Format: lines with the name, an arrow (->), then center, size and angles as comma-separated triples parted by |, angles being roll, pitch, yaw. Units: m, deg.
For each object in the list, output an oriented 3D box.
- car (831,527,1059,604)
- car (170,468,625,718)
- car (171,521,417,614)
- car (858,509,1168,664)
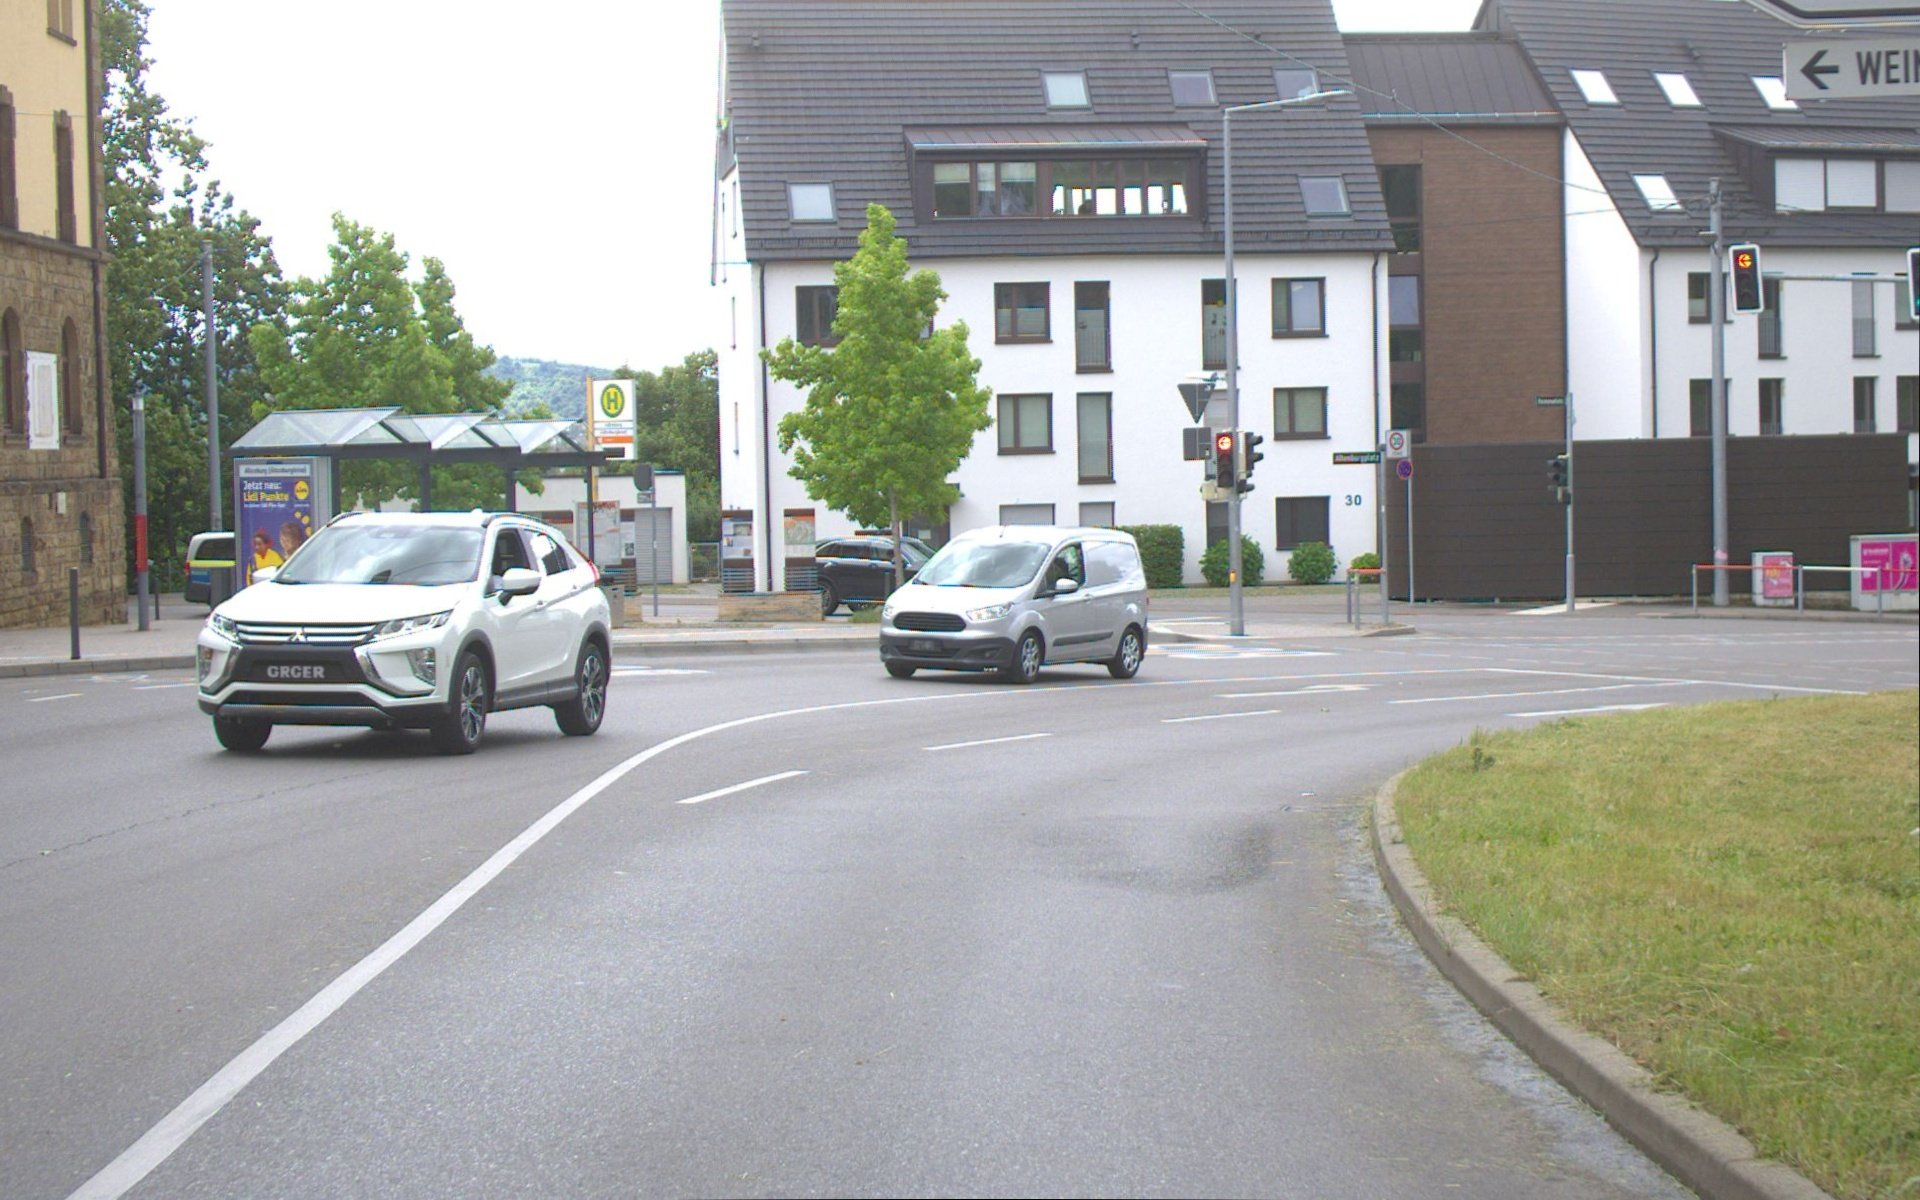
car -> -0.317, -0.714, 70.901 | 4.267, 1.508, 1.996 | 1, 1, 31
car -> -3.888, 0.008, 24.585 | 1.792, 1.605, 4.506 | -1, -1, 10
car -> -15.022, -0.735, 77.652 | 5.075, 2.007, 2.000 | 1, 0, 4
car -> 0.656, -0.152, 38.269 | 1.695, 1.608, 4.076 | 1, 1, 29
